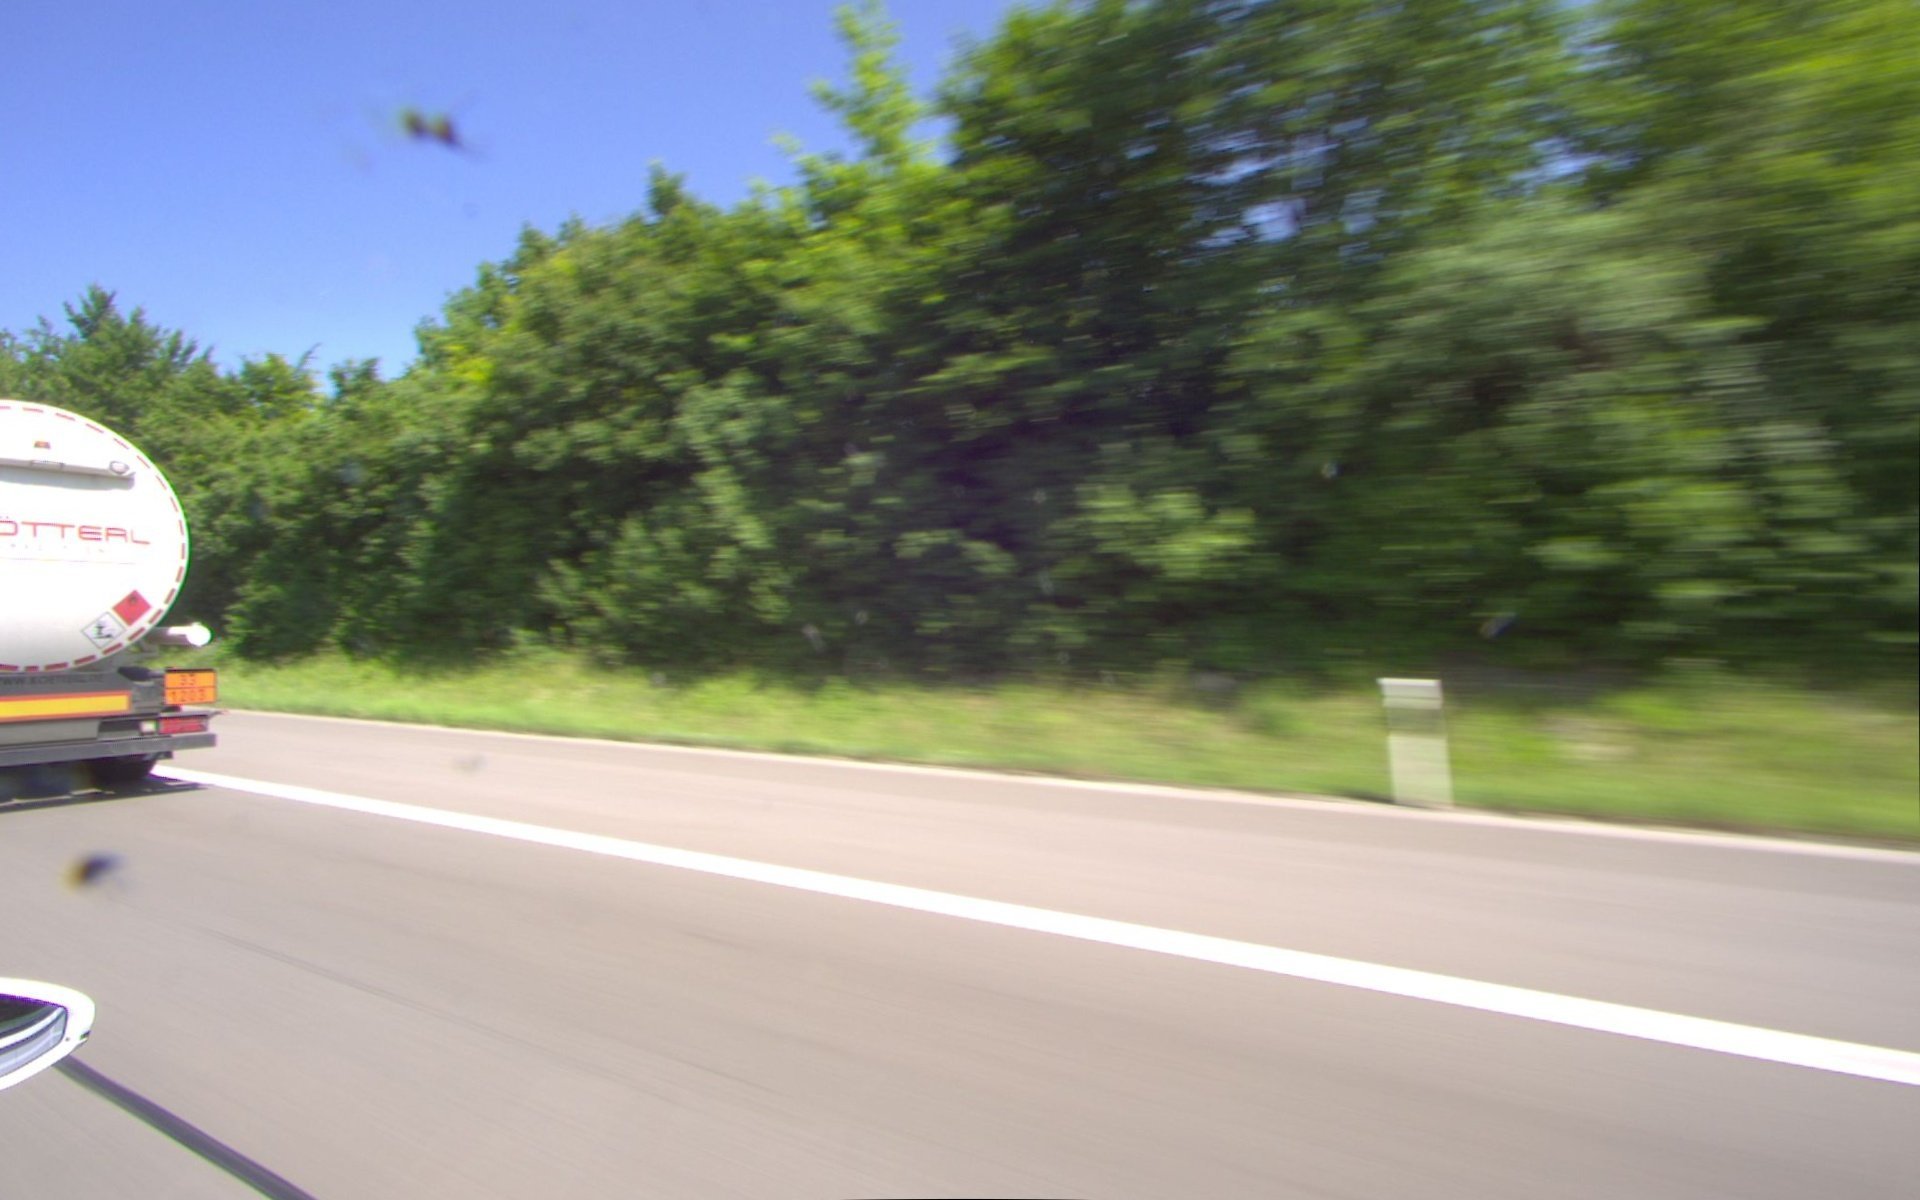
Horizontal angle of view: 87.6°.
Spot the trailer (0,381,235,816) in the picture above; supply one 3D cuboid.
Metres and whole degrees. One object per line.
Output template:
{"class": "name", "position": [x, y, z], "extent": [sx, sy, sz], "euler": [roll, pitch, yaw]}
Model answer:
{"class": "trailer", "position": [-12.049, 0.094, 11.135], "extent": [10.993, 3.433, 2.643], "euler": [-1, -1, 33]}
